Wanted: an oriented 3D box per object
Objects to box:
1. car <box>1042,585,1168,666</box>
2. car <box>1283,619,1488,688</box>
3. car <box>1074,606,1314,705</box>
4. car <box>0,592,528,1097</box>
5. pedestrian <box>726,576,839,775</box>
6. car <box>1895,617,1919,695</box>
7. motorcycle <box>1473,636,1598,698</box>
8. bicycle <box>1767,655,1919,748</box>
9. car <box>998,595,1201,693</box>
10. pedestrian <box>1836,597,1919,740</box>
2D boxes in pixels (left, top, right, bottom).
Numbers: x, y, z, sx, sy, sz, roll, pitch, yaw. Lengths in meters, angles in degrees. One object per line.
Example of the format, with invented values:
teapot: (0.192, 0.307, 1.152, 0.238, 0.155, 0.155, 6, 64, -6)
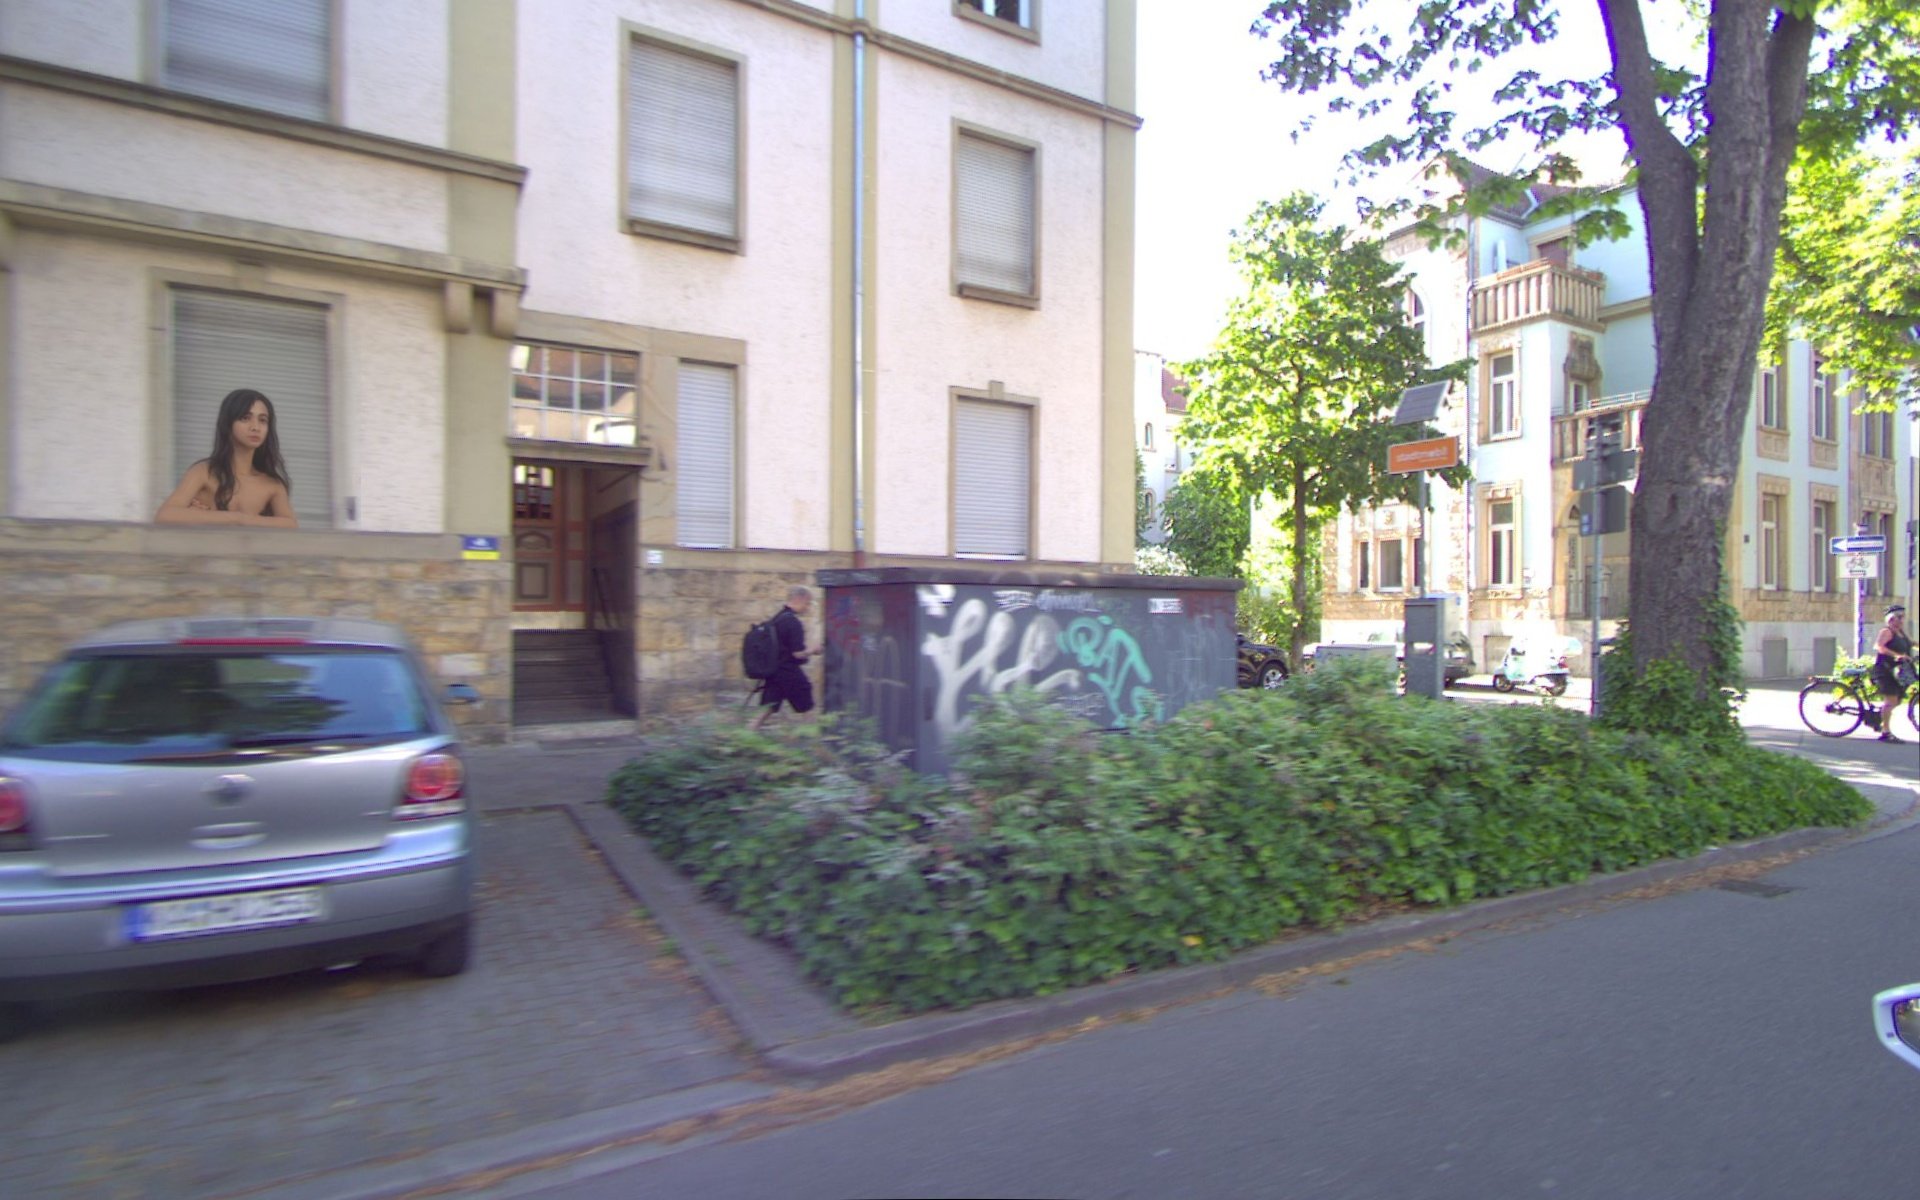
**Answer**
car: (4.805, 0.849, 33.924, 1.783, 2.531, 4.381, 1, -1, -33)
car: (10.025, 1.213, 24.038, 1.780, 1.484, 4.387, 1, -1, -29)
car: (4.414, 0.978, 18.867, 4.198, 1.661, 1.985, 1, -1, -29)
car: (-3.230, 0.756, 4.913, 1.622, 1.507, 3.657, 1, -1, -30)
pedestrian: (-1.595, 0.650, 8.996, 0.822, 1.681, 0.629, 1, 0, -30)
car: (20.142, 1.152, 18.492, 1.779, 1.483, 3.963, 2, 0, -33)
motorcycle: (11.986, 1.376, 21.015, 0.885, 1.192, 2.208, 3, -2, -21)
bicycle: (11.531, 1.245, 12.653, 0.750, 1.080, 1.984, 0, -2, -26)
car: (2.997, 0.898, 21.486, 3.952, 1.924, 1.985, 1, -1, -29)
pedestrian: (11.551, 0.842, 12.581, 0.644, 1.717, 0.628, 0, -2, -26)
